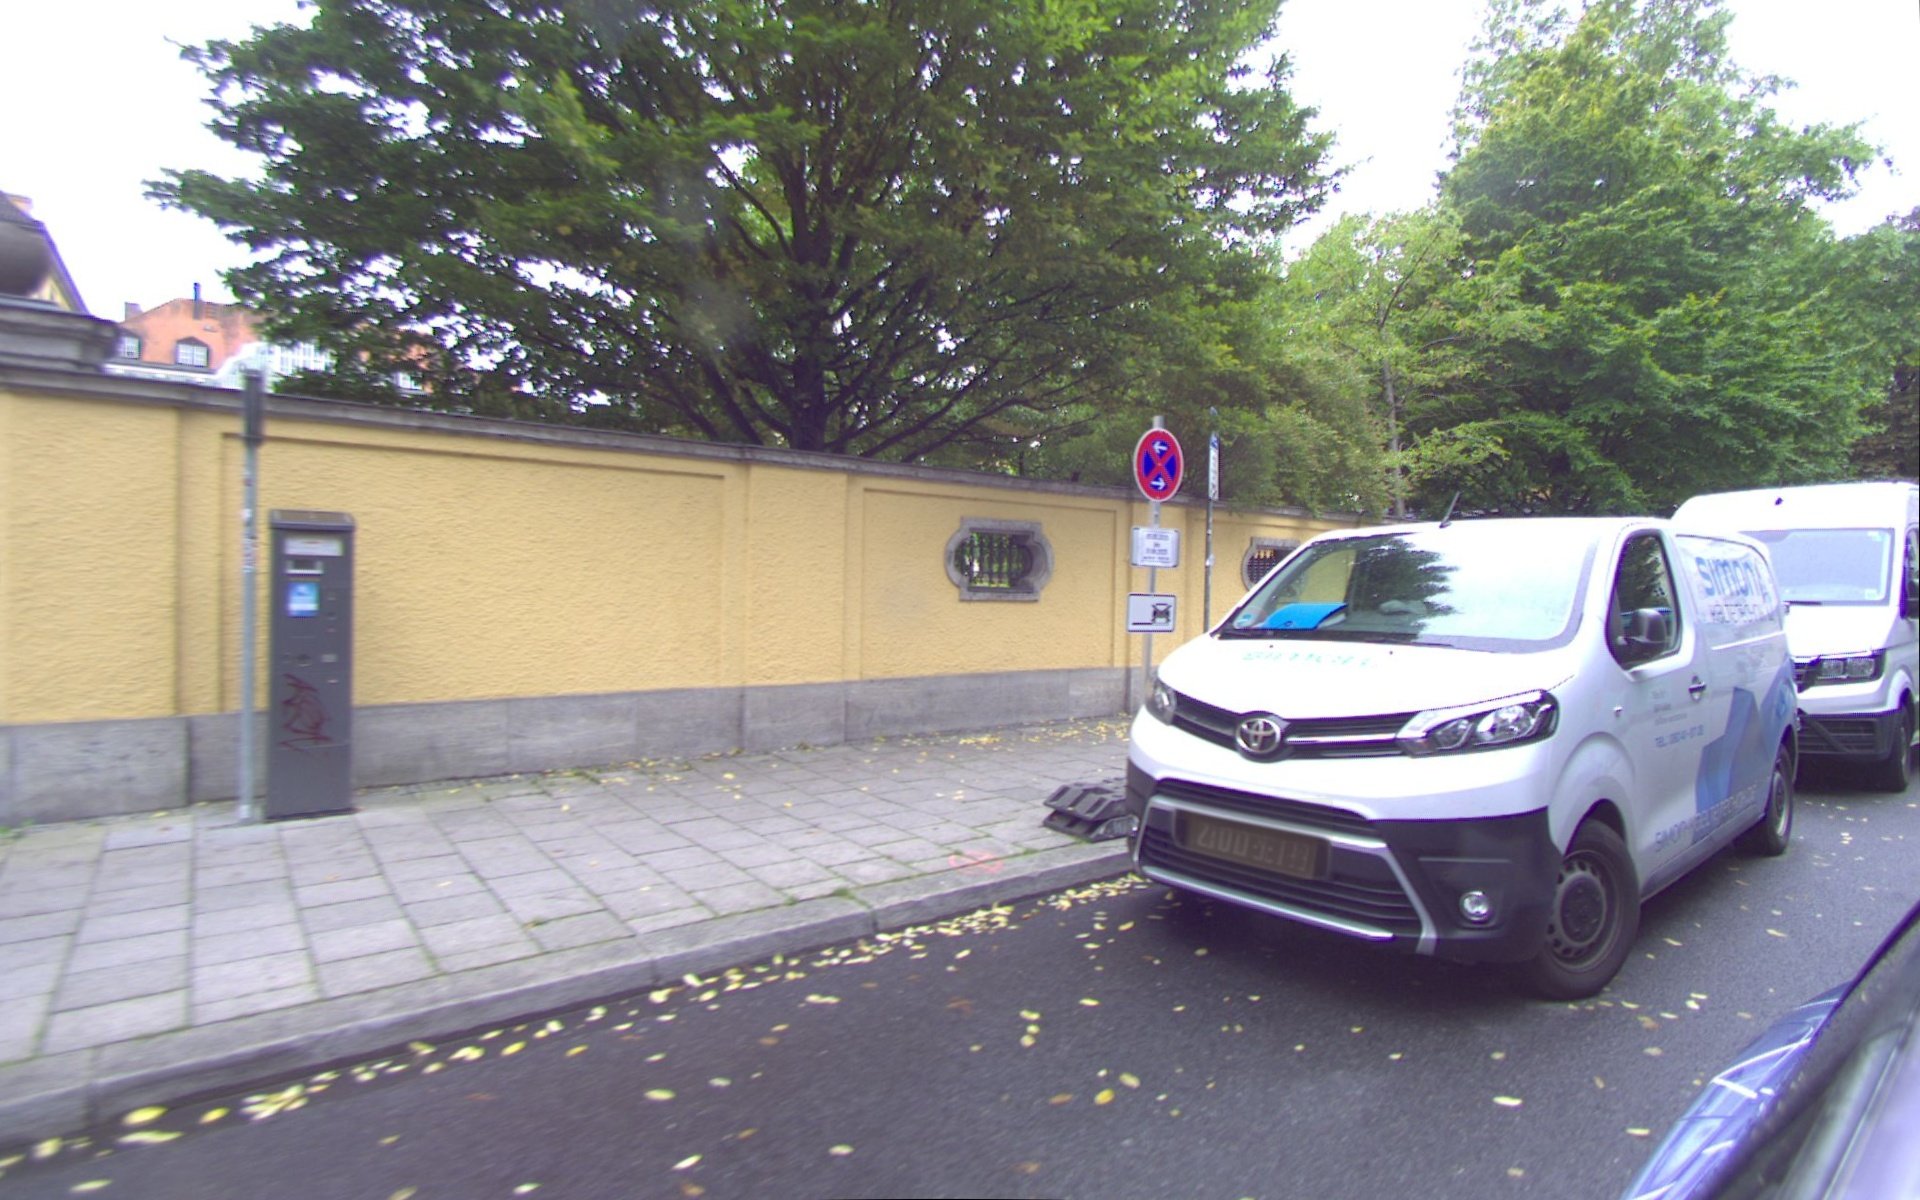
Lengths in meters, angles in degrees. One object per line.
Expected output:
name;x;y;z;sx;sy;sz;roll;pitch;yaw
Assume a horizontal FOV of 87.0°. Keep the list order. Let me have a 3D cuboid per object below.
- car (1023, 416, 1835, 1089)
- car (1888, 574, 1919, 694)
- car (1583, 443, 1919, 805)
car;2.839;0.422;5.349;5.074;1.931;2.017;0;0;-41
car;16.232;0.483;15.812;4.519;1.763;1.863;0;0;-38
car;8.193;0.092;9.635;5.637;2.518;2.100;-1;2;-39
